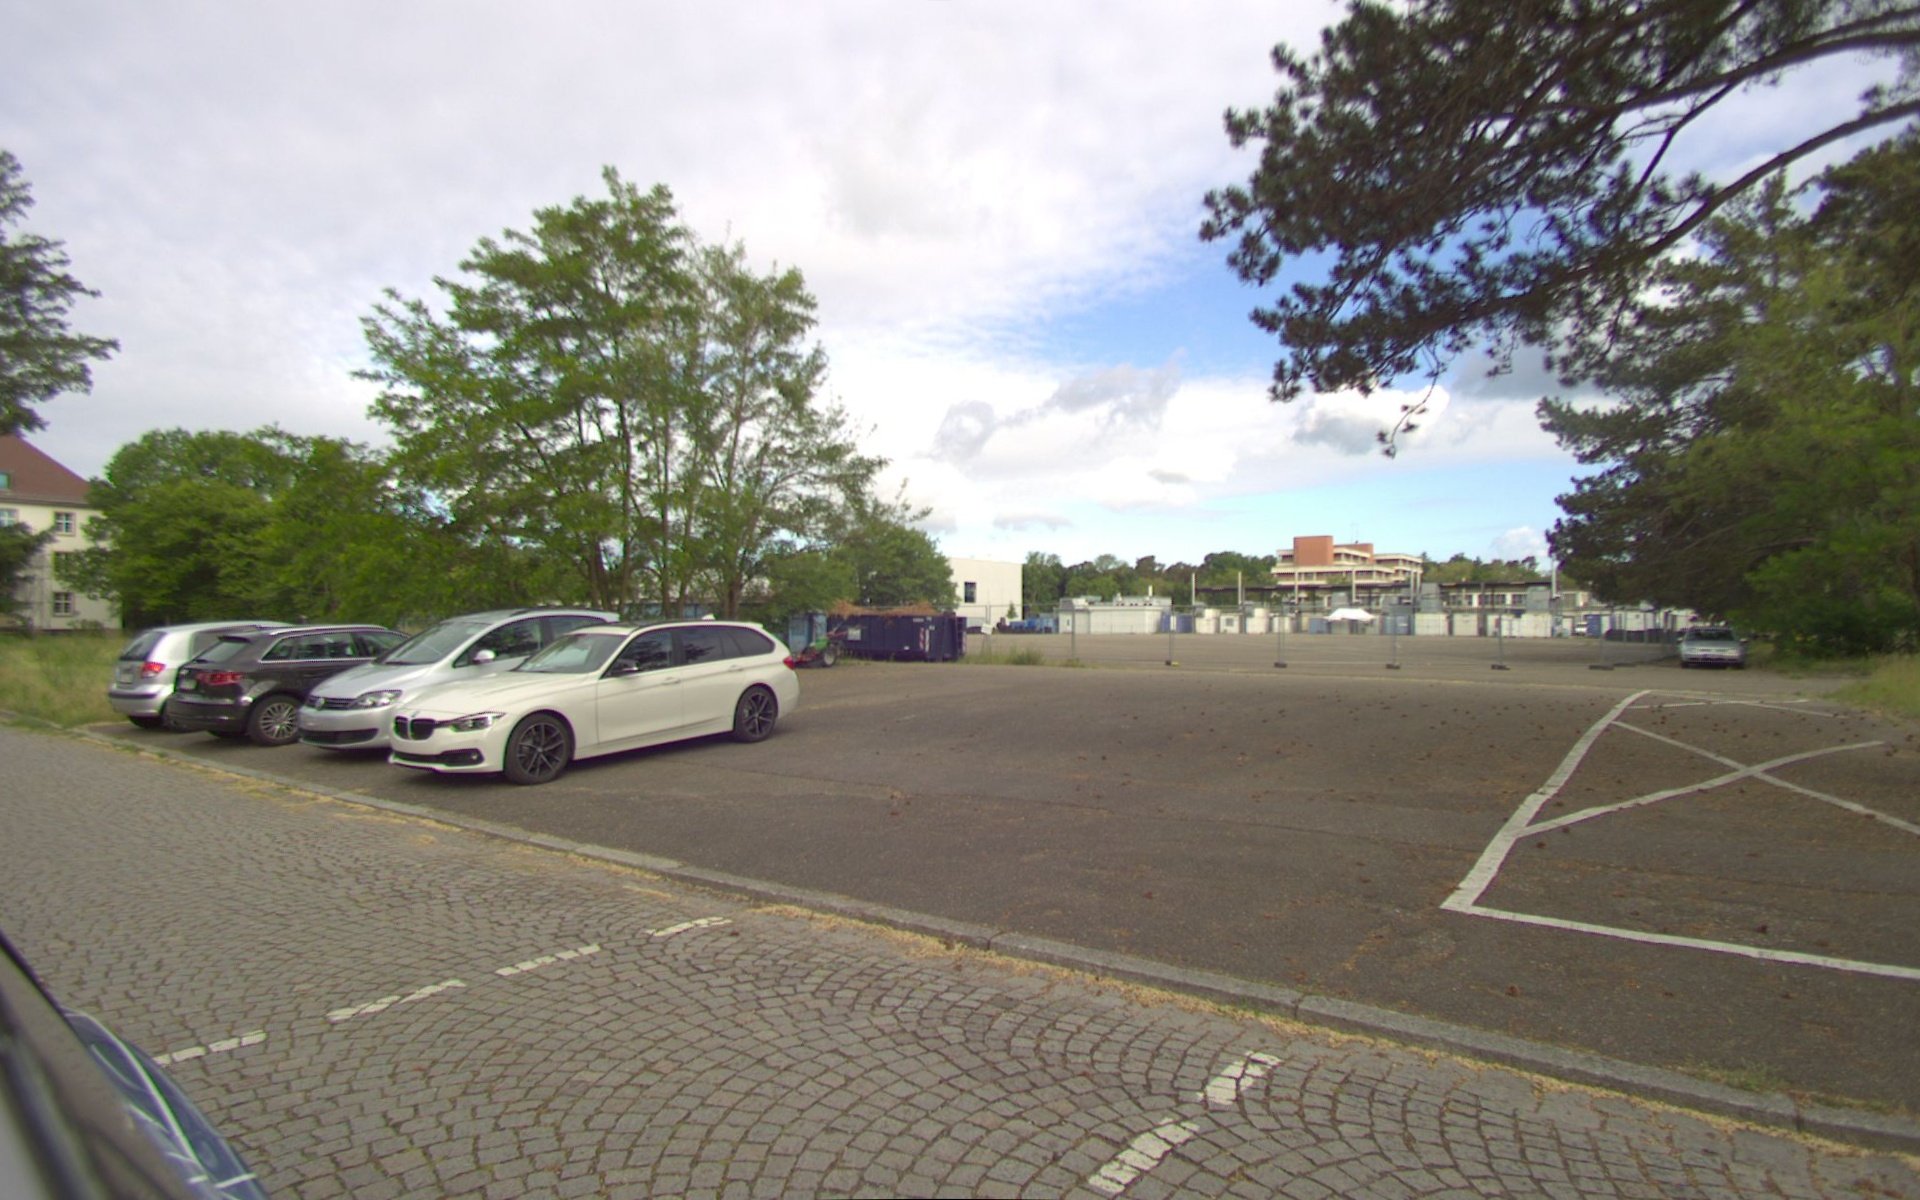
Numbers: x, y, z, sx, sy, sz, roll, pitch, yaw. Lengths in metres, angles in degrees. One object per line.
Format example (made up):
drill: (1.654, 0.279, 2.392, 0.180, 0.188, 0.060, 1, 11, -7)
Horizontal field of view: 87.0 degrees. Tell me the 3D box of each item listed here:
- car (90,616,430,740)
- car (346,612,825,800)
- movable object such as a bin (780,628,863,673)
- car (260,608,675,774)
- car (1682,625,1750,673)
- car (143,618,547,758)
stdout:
car: (-10.389, 1.058, 15.304, 1.580, 1.481, 3.917, -1, 1, 34)
car: (-3.763, 0.954, 11.066, 1.862, 1.499, 4.699, -2, -1, 34)
movable object such as a bin: (-3.603, 1.312, 26.569, 0.856, 1.134, 2.242, -1, -2, 35)
car: (-5.825, 0.946, 12.553, 1.866, 1.610, 4.331, -1, 0, 31)
car: (25.957, 1.636, 34.850, 1.732, 1.443, 4.112, -1, -1, 35)
car: (-8.150, 1.048, 13.842, 1.718, 1.435, 4.397, -1, 1, 35)
